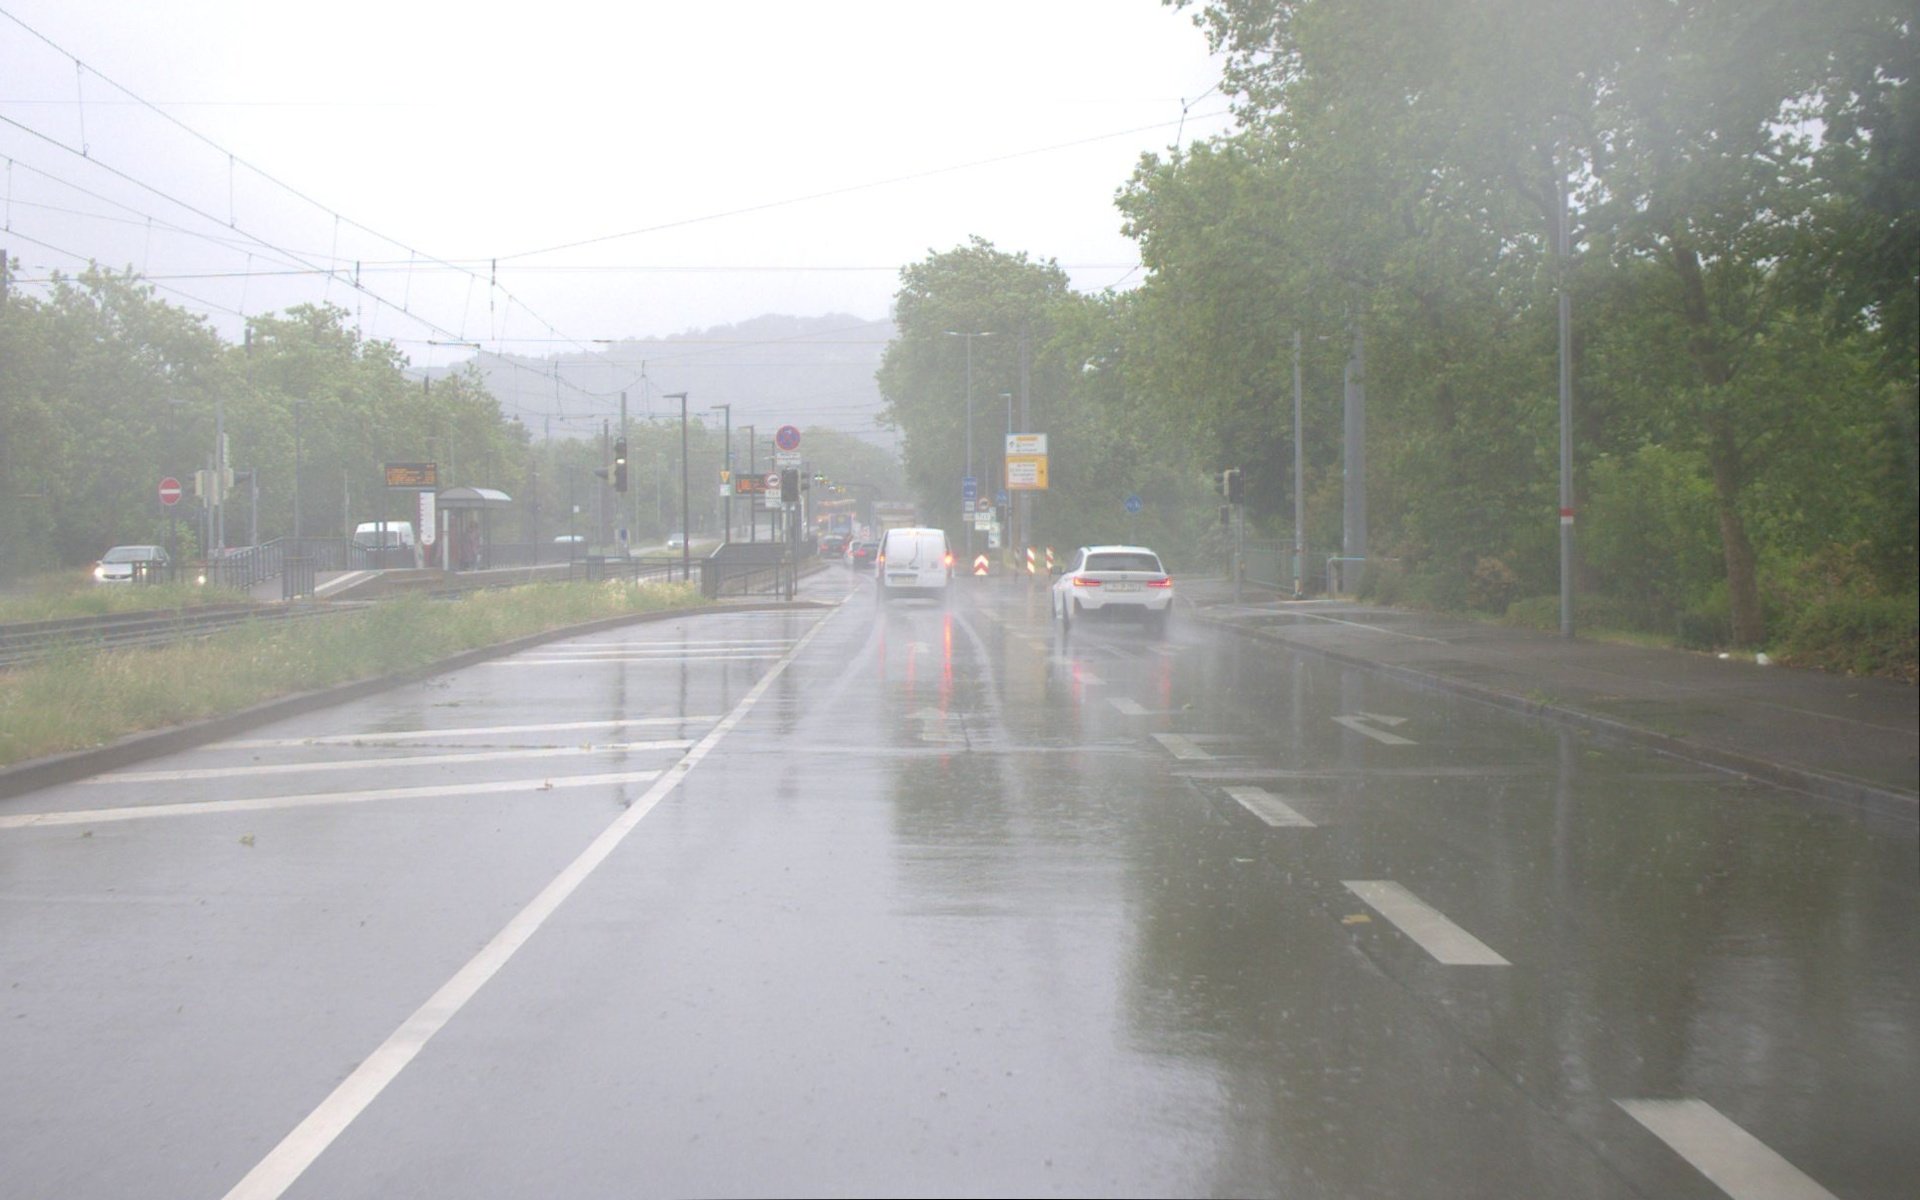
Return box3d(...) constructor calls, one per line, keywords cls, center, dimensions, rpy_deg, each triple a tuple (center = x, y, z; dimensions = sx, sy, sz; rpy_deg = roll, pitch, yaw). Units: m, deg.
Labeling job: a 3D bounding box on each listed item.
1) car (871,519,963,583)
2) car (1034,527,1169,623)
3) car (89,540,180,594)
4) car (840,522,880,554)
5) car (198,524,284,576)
box3d(cls="car", center=(-0.982, -1.144, 79.167), dimensions=(2.077, 1.415, 4.000), rpy_deg=(0, 1, 0))
box3d(cls="car", center=(2.328, -0.441, 57.649), dimensions=(1.948, 1.531, 4.467), rpy_deg=(0, 1, -1))
box3d(cls="car", center=(-23.569, -0.958, 98.239), dimensions=(1.720, 1.489, 4.000), rpy_deg=(0, 1, -1))
box3d(cls="car", center=(-5.075, -3.162, 175.333), dimensions=(1.993, 1.542, 4.000), rpy_deg=(1, 1, -1))
box3d(cls="car", center=(-20.792, -1.466, 99.515), dimensions=(1.720, 1.489, 4.000), rpy_deg=(0, 1, -1))
